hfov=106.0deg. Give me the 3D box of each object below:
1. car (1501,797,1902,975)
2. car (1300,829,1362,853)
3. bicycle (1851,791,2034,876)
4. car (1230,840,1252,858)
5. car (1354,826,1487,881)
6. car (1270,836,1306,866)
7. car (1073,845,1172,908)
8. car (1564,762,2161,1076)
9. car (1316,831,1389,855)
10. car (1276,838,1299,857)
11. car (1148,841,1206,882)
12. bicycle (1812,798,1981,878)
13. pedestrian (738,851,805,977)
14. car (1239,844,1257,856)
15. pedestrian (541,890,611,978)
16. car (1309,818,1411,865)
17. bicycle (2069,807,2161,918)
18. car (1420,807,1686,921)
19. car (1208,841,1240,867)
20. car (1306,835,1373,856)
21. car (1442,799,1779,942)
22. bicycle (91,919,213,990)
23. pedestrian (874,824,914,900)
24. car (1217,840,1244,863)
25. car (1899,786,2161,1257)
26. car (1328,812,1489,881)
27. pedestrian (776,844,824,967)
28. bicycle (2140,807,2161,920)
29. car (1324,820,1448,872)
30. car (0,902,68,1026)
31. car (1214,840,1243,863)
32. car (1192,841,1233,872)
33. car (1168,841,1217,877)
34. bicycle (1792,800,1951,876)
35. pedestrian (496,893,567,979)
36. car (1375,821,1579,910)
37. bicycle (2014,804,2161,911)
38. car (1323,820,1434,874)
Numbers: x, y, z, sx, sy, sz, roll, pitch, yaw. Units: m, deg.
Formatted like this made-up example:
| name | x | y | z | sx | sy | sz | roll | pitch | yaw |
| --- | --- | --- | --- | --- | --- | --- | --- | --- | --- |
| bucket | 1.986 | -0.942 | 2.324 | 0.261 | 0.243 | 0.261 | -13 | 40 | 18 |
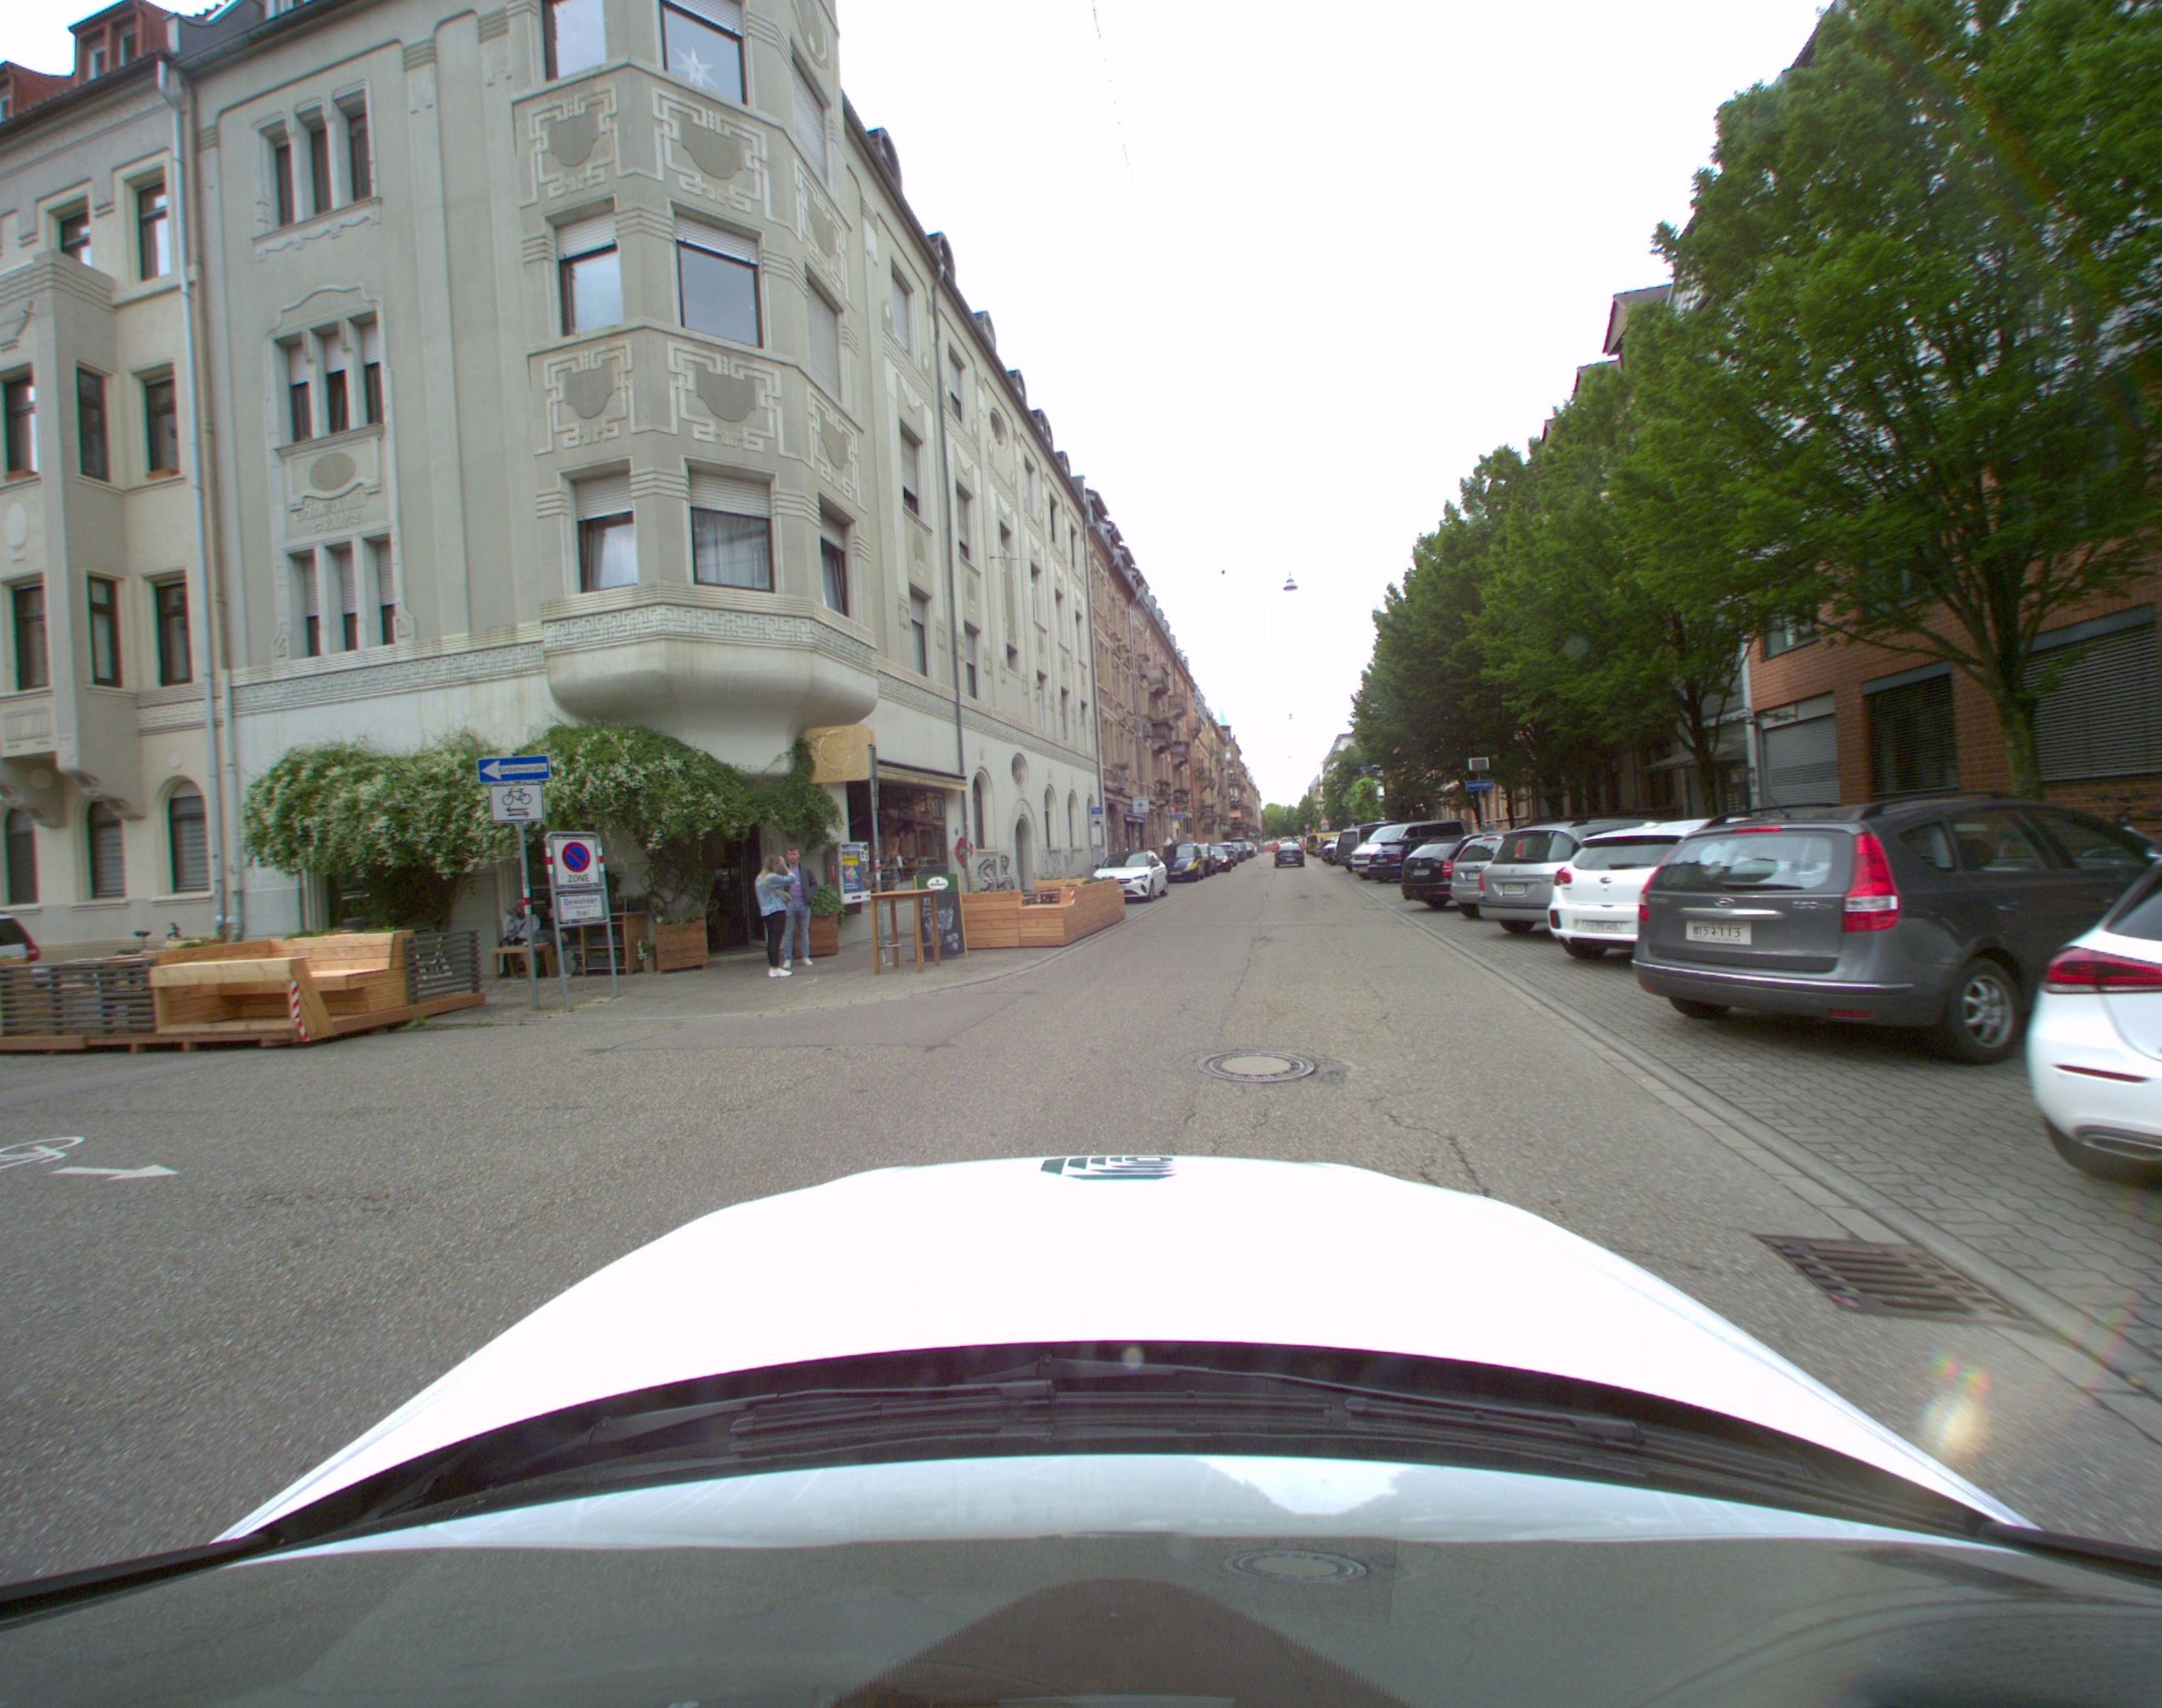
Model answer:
| name | x | y | z | sx | sy | sz | roll | pitch | yaw |
| --- | --- | --- | --- | --- | --- | --- | --- | --- | --- |
| car | 6.924 | 0.276 | 9.087 | 4.064 | 1.486 | 1.669 | -4 | -1 | -23 |
| car | 23.552 | -1.246 | 76.736 | 5.398 | 1.868 | 1.940 | -4 | -1 | -16 |
| bicycle | 12.277 | -0.273 | 11.657 | 1.740 | 1.092 | 0.567 | -3 | -1 | 13 |
| car | 16.719 | -0.520 | 85.062 | 1.930 | 1.738 | 3.958 | -3 | 0 | 14 |
| car | 11.307 | 0.001 | 27.137 | 3.865 | 1.505 | 1.759 | -4 | -1 | -21 |
| car | 12.707 | -0.164 | 50.224 | 1.980 | 1.681 | 4.014 | -3 | -1 | 13 |
| car | 1.317 | 0.596 | 23.810 | 1.929 | 1.553 | 3.834 | -5 | -1 | 16 |
| car | 5.938 | 0.288 | 5.906 | 4.058 | 1.585 | 1.892 | -4 | -1 | -18 |
| car | 21.890 | -0.877 | 65.687 | 5.398 | 1.553 | 1.940 | -4 | -1 | -16 |
| car | 19.974 | -0.576 | 78.879 | 1.980 | 1.681 | 4.014 | -3 | -1 | 13 |
| car | 4.215 | 0.292 | 35.245 | 1.930 | 1.617 | 3.957 | -2 | 0 | 14 |
| bicycle | 12.414 | -0.226 | 12.444 | 1.740 | 1.092 | 0.567 | -3 | -1 | 13 |
| pedestrian | -4.251 | 0.805 | 11.203 | 0.572 | 1.660 | 0.579 | -4 | -2 | 35 |
| car | 20.398 | -0.537 | 99.597 | 1.981 | 1.321 | 4.012 | -3 | 0 | 10 |
| pedestrian | -7.360 | 1.161 | 11.874 | 0.574 | 1.197 | 0.557 | -3 | 1 | 13 |
| car | 16.799 | -0.717 | 49.162 | 5.383 | 2.373 | 1.945 | -4 | -1 | -8 |
| bicycle | 11.446 | 0.050 | 8.283 | 1.740 | 1.092 | 0.567 | -3 | -1 | 13 |
| car | 8.245 | 0.147 | 14.261 | 4.061 | 1.585 | 1.759 | -4 | -1 | -20 |
| car | 9.948 | -0.042 | 56.428 | 1.930 | 1.617 | 3.957 | -3 | 0 | 13 |
| car | 22.768 | -0.770 | 71.756 | 5.398 | 1.553 | 1.940 | -3 | 0 | -16 |
| car | 7.473 | 0.190 | 11.578 | 4.057 | 1.585 | 1.761 | -4 | -1 | -17 |
| bicycle | -16.151 | 1.743 | 14.166 | 1.728 | 1.097 | 0.728 | -3 | 0 | 18 |
| pedestrian | -4.075 | 0.178 | 17.749 | 0.745 | 1.593 | 0.615 | -2 | -1 | -17 |
| car | 12.497 | -0.205 | 67.902 | 1.930 | 1.741 | 3.957 | -2 | 0 | 14 |
| car | 5.497 | 0.491 | 3.014 | 3.984 | 1.543 | 1.864 | -2 | 0 | -18 |
| car | 12.206 | -0.269 | 30.361 | 5.627 | 2.127 | 1.937 | -4 | -1 | -21 |
| pedestrian | -4.133 | 0.744 | 11.968 | 0.581 | 1.734 | 0.502 | -2 | -1 | -22 |
| bicycle | 11.225 | 0.049 | 7.528 | 1.740 | 1.092 | 0.567 | -3 | -1 | 13 |
| car | 14.282 | -0.381 | 38.169 | 5.406 | 1.992 | 1.937 | -4 | -1 | -21 |
| car | -17.501 | 1.778 | 11.854 | 3.792 | 1.716 | 1.774 | -5 | 2 | 12 |
| car | 11.223 | -0.197 | 61.706 | 1.930 | 1.617 | 3.957 | -2 | 0 | 13 |
| car | 7.513 | 0.129 | 46.337 | 1.930 | 1.617 | 3.957 | -2 | 0 | 13 |
| car | 5.585 | 0.225 | 40.566 | 1.930 | 1.617 | 3.957 | -2 | 0 | 14 |
| bicycle | 12.593 | -0.235 | 13.019 | 1.740 | 1.092 | 0.567 | -3 | -1 | 13 |
| pedestrian | -8.126 | 1.207 | 12.055 | 0.574 | 1.197 | 0.557 | -3 | 1 | 13 |
| car | 8.306 | 0.217 | 17.058 | 3.872 | 1.505 | 1.756 | -4 | -1 | -26 |
| bicycle | 11.535 | 0.021 | 8.887 | 1.740 | 1.092 | 0.567 | -3 | -1 | 13 |
| car | 12.508 | -0.281 | 34.352 | 3.985 | 2.013 | 1.746 | -3 | 0 | -8 |
